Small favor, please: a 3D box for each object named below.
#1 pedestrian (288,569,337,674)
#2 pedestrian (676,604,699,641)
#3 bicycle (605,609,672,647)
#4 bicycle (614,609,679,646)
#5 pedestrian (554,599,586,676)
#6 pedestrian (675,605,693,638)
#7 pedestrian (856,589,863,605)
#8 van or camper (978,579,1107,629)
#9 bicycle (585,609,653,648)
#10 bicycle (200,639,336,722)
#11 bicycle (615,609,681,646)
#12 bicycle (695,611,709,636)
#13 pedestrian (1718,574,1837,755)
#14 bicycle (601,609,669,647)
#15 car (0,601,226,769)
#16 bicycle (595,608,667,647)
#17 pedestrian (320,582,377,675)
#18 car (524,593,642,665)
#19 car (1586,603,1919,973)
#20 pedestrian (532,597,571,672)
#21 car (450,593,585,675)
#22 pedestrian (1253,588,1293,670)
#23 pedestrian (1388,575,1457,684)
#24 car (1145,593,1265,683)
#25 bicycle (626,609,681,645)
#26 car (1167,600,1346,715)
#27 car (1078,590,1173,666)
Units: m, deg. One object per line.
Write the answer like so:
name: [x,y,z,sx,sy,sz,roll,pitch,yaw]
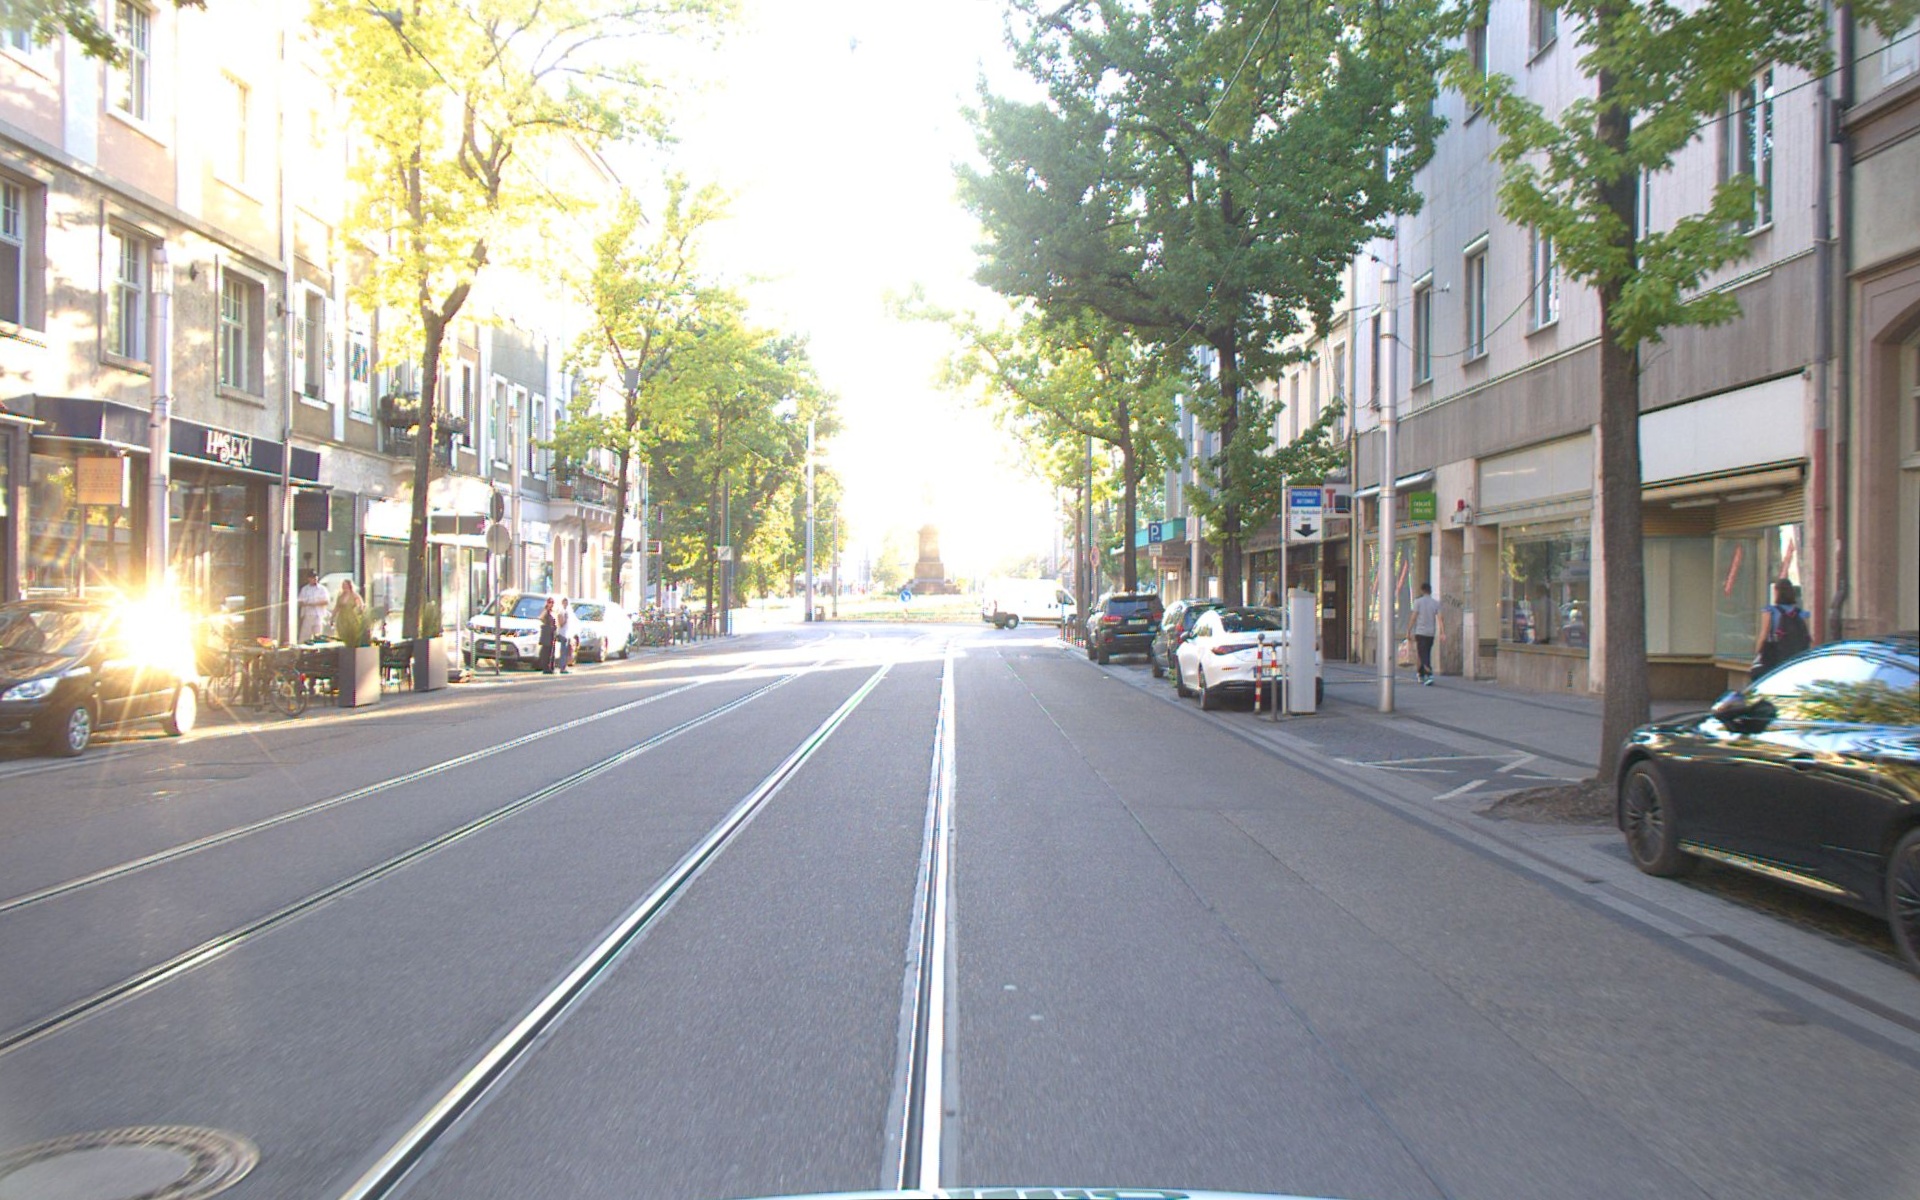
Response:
pedestrian: [-12.789,0.417,32.664,0.707,2.049,0.642,0,0,0]
pedestrian: [-9.922,0.799,60.169,0.713,1.313,0.856,1,0,-3]
bicycle: [-10.173,0.896,52.405,1.998,1.124,0.497,2,-1,-26]
bicycle: [-10.201,0.889,53.871,1.981,1.124,0.501,2,-1,2]
pedestrian: [-8.196,0.777,34.756,0.510,1.596,0.634,0,-1,0]
pedestrian: [-10.304,0.811,61.807,0.579,1.214,0.641,1,0,-3]
pedestrian: [-10.469,-0.346,172.203,0.754,1.634,0.637,0,0,-7]
van or camper: [4.254,0.177,85.372,6.194,2.516,2.606,0,0,-15]
bicycle: [-10.353,0.866,50.251,1.921,1.124,0.563,2,-1,-26]
bicycle: [-8.992,1.041,21.514,1.582,0.982,0.433,2,0,5]
bicycle: [-10.041,0.893,53.286,1.981,1.124,0.501,2,-1,2]
bicycle: [-10.213,0.925,65.471,0.329,0.962,1.510,0,0,0]
pedestrian: [7.941,0.609,16.091,0.644,1.694,0.888,-2,0,-1]
bicycle: [-10.165,0.870,51.805,1.998,1.124,0.497,2,-1,-26]
car: [-9.312,0.787,17.175,1.632,1.453,3.826,3,0,-1]
bicycle: [-10.176,0.860,51.180,2.082,1.124,0.497,2,-1,-26]
pedestrian: [-12.009,0.547,32.493,0.707,1.791,1.090,0,0,0]
car: [-9.516,0.703,42.132,1.799,1.607,4.702,4,0,0]
car: [4.934,0.802,8.138,1.796,1.504,4.760,-2,0,-1]
pedestrian: [-8.397,0.706,33.996,0.607,1.536,0.729,0,-1,0]
car: [-9.790,0.708,36.931,1.799,1.607,4.116,4,0,0]
pedestrian: [6.683,0.614,35.327,0.630,1.699,0.786,-3,0,0]
pedestrian: [7.870,0.492,28.174,0.840,1.783,0.932,-3,0,-1]
car: [4.932,0.728,33.734,1.740,1.618,3.891,-3,0,-1]
bicycle: [-10.158,0.881,54.743,1.989,1.124,0.499,1,-1,35]
car: [4.534,0.824,26.014,1.953,1.524,4.680,-3,0,0]
car: [4.289,0.691,43.492,1.899,1.790,4.679,-3,0,0]
